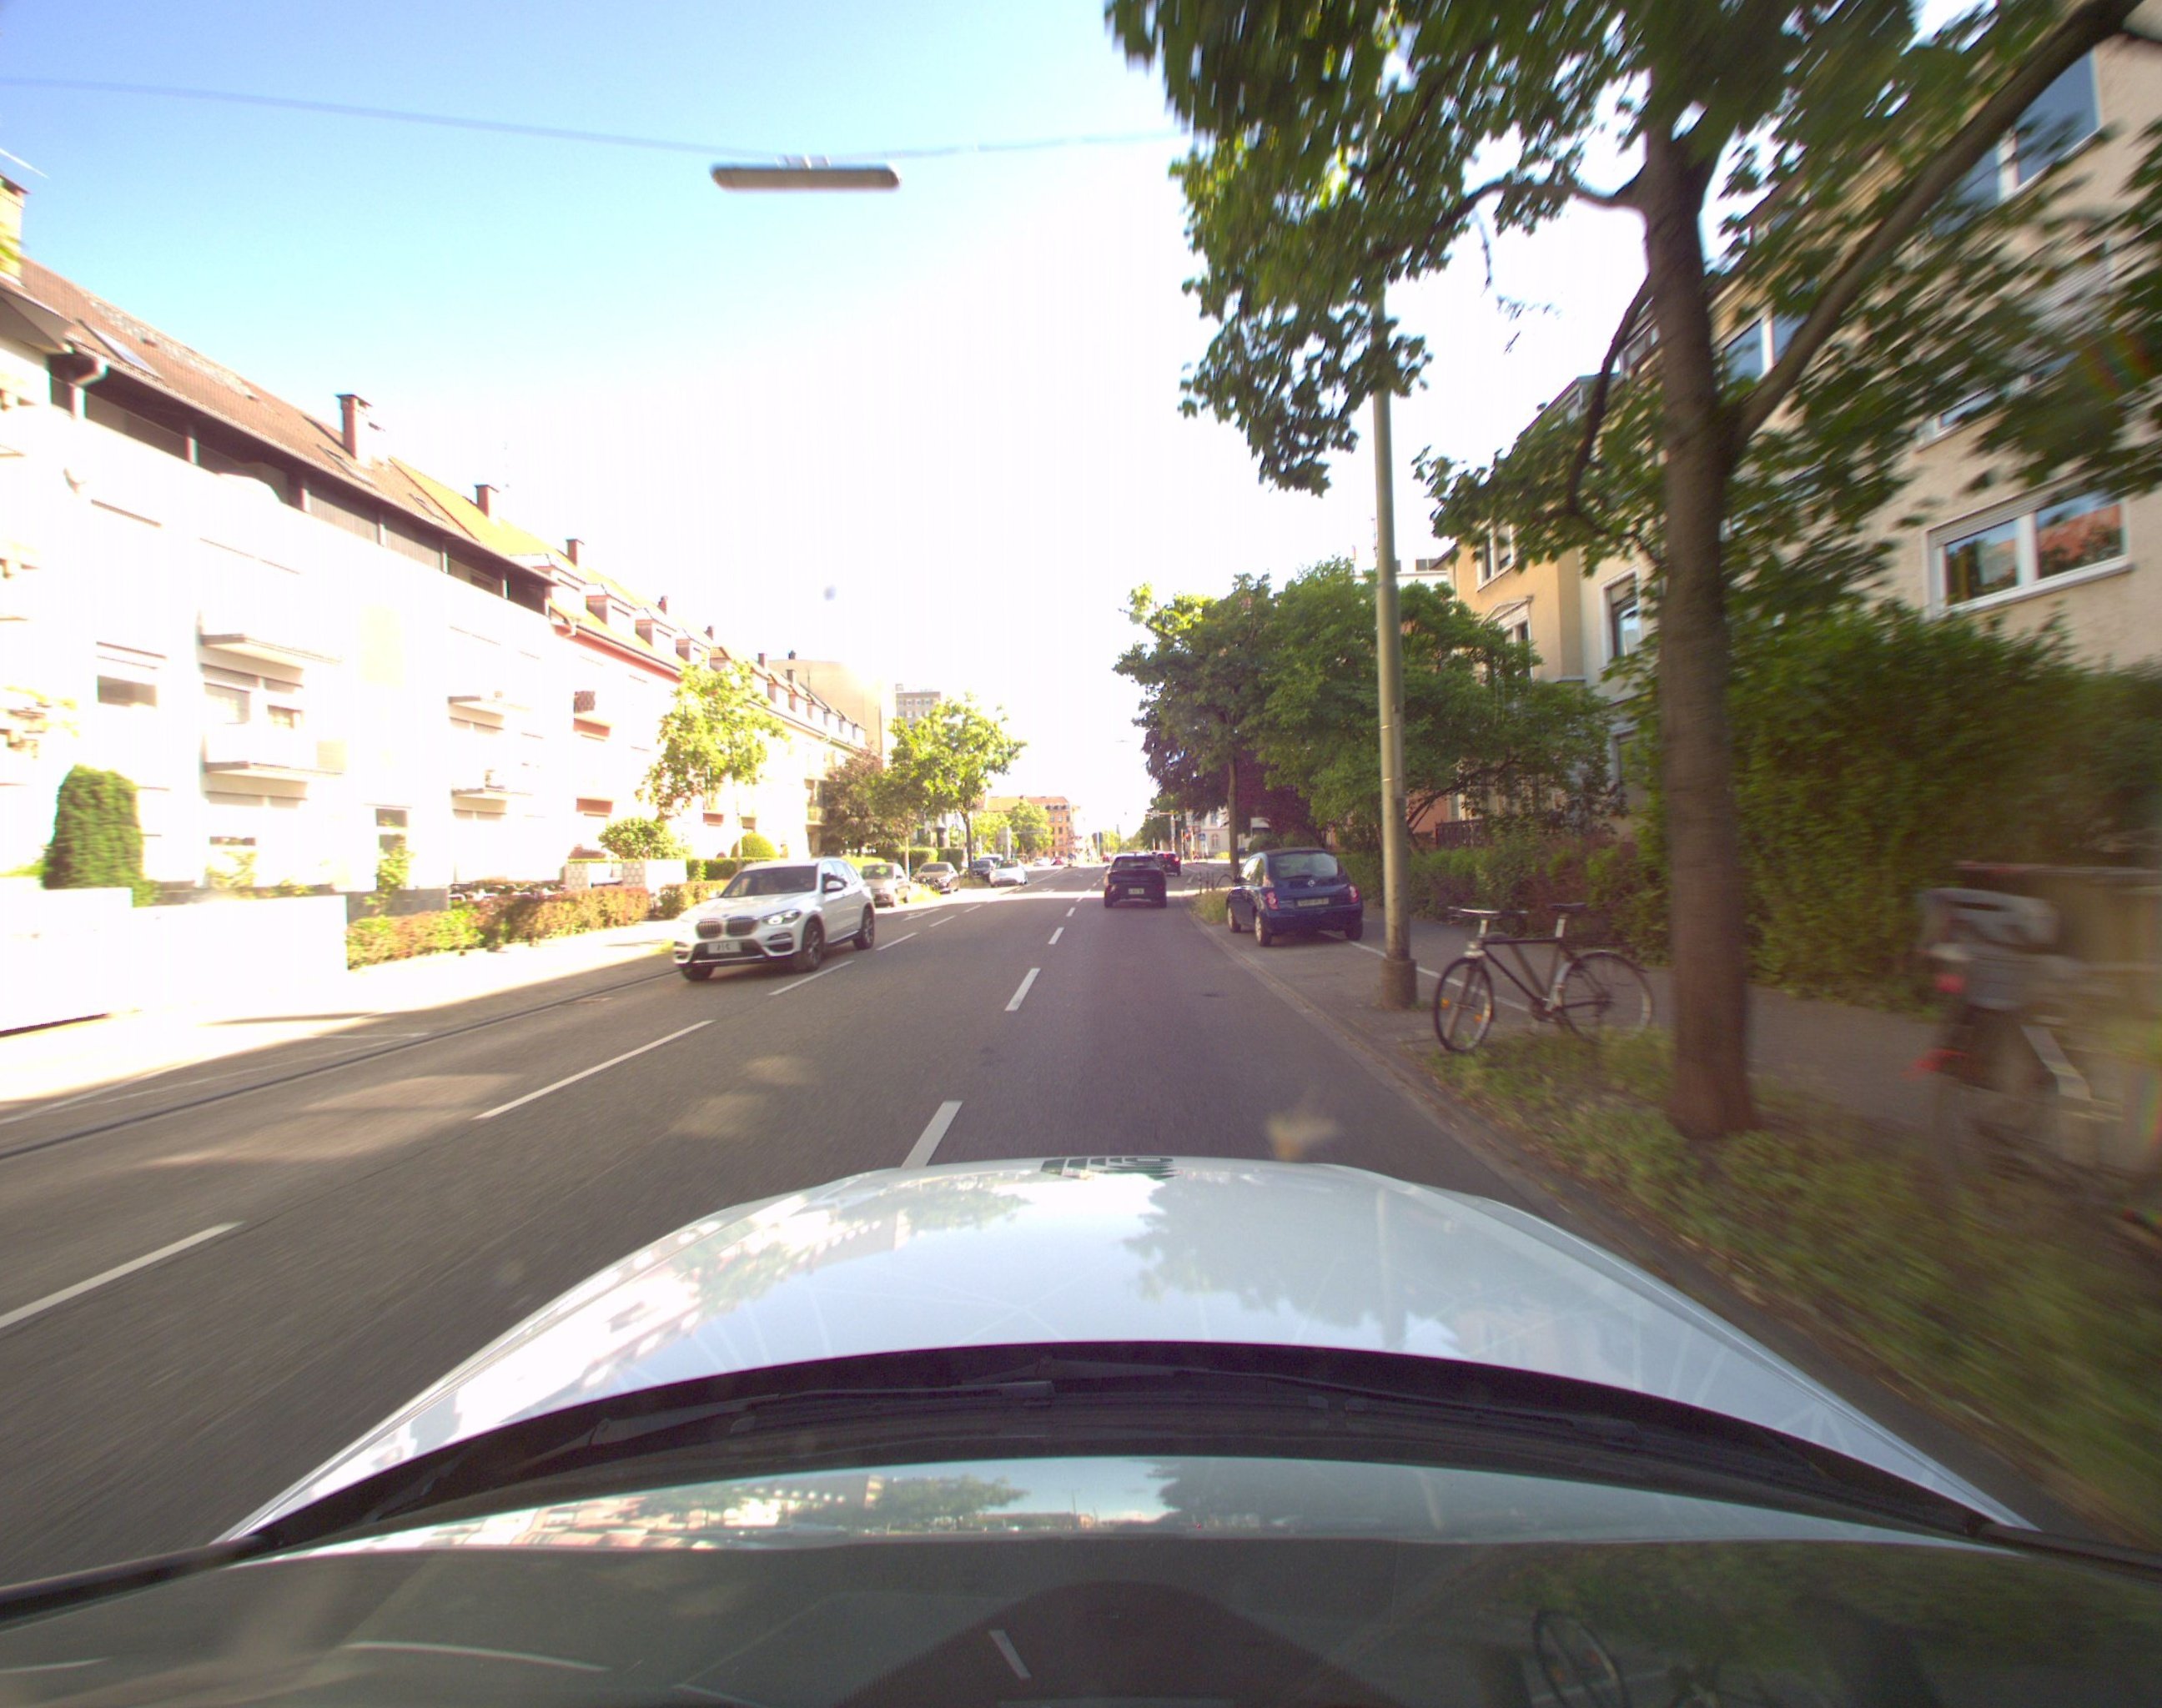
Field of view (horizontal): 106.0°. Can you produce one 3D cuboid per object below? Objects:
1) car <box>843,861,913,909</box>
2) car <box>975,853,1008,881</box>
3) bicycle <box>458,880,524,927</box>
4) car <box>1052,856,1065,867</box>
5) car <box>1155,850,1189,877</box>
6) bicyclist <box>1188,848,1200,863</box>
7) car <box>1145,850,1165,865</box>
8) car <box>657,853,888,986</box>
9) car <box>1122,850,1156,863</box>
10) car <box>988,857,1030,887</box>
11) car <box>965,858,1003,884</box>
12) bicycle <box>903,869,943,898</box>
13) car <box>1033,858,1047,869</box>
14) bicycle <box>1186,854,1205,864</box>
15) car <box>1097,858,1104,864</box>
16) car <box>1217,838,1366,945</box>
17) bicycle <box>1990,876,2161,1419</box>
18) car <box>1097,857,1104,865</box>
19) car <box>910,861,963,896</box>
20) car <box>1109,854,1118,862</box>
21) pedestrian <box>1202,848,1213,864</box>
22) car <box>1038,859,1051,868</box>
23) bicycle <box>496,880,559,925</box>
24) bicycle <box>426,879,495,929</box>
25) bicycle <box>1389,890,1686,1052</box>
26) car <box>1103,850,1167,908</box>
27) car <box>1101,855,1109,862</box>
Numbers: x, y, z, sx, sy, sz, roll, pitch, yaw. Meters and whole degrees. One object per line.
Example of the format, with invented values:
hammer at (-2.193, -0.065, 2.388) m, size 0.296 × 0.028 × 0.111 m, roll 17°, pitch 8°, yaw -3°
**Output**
car at (-7.127, 1.041, 28.910) m, size 1.671 × 1.525 × 3.656 m, roll 0°, pitch 0°, yaw -2°
car at (-6.317, 0.909, 58.045) m, size 1.813 × 1.834 × 4.561 m, roll -2°, pitch 0°, yaw 0°
bicycle at (-14.598, 1.200, 20.191) m, size 0.418 × 1.053 × 1.549 m, roll -3°, pitch 0°, yaw 2°
car at (-3.491, 1.099, 126.670) m, size 1.784 × 1.617 × 4.002 m, roll -2°, pitch 0°, yaw 2°
car at (5.806, 0.595, 52.087) m, size 1.823 × 1.578 × 3.841 m, roll -2°, pitch 0°, yaw 2°
bicyclist at (12.656, 0.157, 91.044) m, size 1.167 × 1.633 × 0.725 m, roll -1°, pitch 0°, yaw -15°
car at (7.368, 0.334, 81.375) m, size 1.823 × 1.452 × 3.990 m, roll -2°, pitch 0°, yaw 2°
car at (-4.703, 0.883, 13.281) m, size 1.800 × 1.648 × 4.673 m, roll -4°, pitch 0°, yaw 1°
car at (7.379, 0.347, 103.708) m, size 3.835 × 1.452 × 1.789 m, roll -2°, pitch 0°, yaw 34°
car at (-3.808, 0.932, 43.700) m, size 1.731 × 1.381 × 3.937 m, roll -4°, pitch 0°, yaw 1°
car at (-6.078, 1.042, 51.240) m, size 1.664 × 1.456 × 4.113 m, roll -2°, pitch 0°, yaw 2°
bicycle at (-6.702, 1.258, 34.633) m, size 1.538 × 1.134 × 0.548 m, roll -3°, pitch 0°, yaw 0°
car at (-6.456, 1.423, 128.529) m, size 1.867 × 1.617 × 4.002 m, roll -2°, pitch 0°, yaw 2°
bicycle at (12.778, 0.520, 91.072) m, size 2.035 × 1.061 × 0.618 m, roll -1°, pitch 0°, yaw -16°
car at (5.401, 2.002, 227.368) m, size 1.867 × 1.448 × 4.002 m, roll -2°, pitch 0°, yaw 2°
car at (3.522, 0.573, 14.251) m, size 1.554 × 1.515 × 3.654 m, roll -4°, pitch 0°, yaw 0°
bicycle at (3.251, 0.726, 2.494) m, size 1.676 × 1.237 × 0.466 m, roll -2°, pitch 0°, yaw -37°
car at (5.280, 1.829, 218.842) m, size 1.803 × 2.134 × 4.002 m, roll -2°, pitch 0°, yaw 2°
car at (-6.615, 1.095, 37.760) m, size 1.763 × 1.408 × 4.363 m, roll -2°, pitch 0°, yaw -2°
car at (8.132, 0.971, 203.873) m, size 2.169 × 1.698 × 3.998 m, roll -2°, pitch 0°, yaw -1°
pedestrian at (13.841, 0.192, 89.333) m, size 1.038 × 1.660 × 0.783 m, roll -3°, pitch 0°, yaw -1°
car at (-6.416, 1.580, 142.227) m, size 1.867 × 1.448 × 4.002 m, roll -2°, pitch 0°, yaw 2°
bicycle at (-13.631, 1.180, 20.095) m, size 0.398 × 0.983 × 1.549 m, roll -3°, pitch 0°, yaw 2°
bicycle at (-15.413, 1.222, 20.264) m, size 0.447 × 1.112 × 1.549 m, roll -3°, pitch 0°, yaw 2°
bicycle at (3.227, 0.832, 5.889) m, size 1.729 × 1.022 × 0.525 m, roll -4°, pitch -3°, yaw 9°
car at (1.544, 0.699, 24.171) m, size 1.739 × 1.573 × 3.559 m, roll -1°, pitch 0°, yaw 1°
car at (5.666, 1.086, 190.500) m, size 1.803 × 1.407 × 4.003 m, roll -2°, pitch 0°, yaw 2°
